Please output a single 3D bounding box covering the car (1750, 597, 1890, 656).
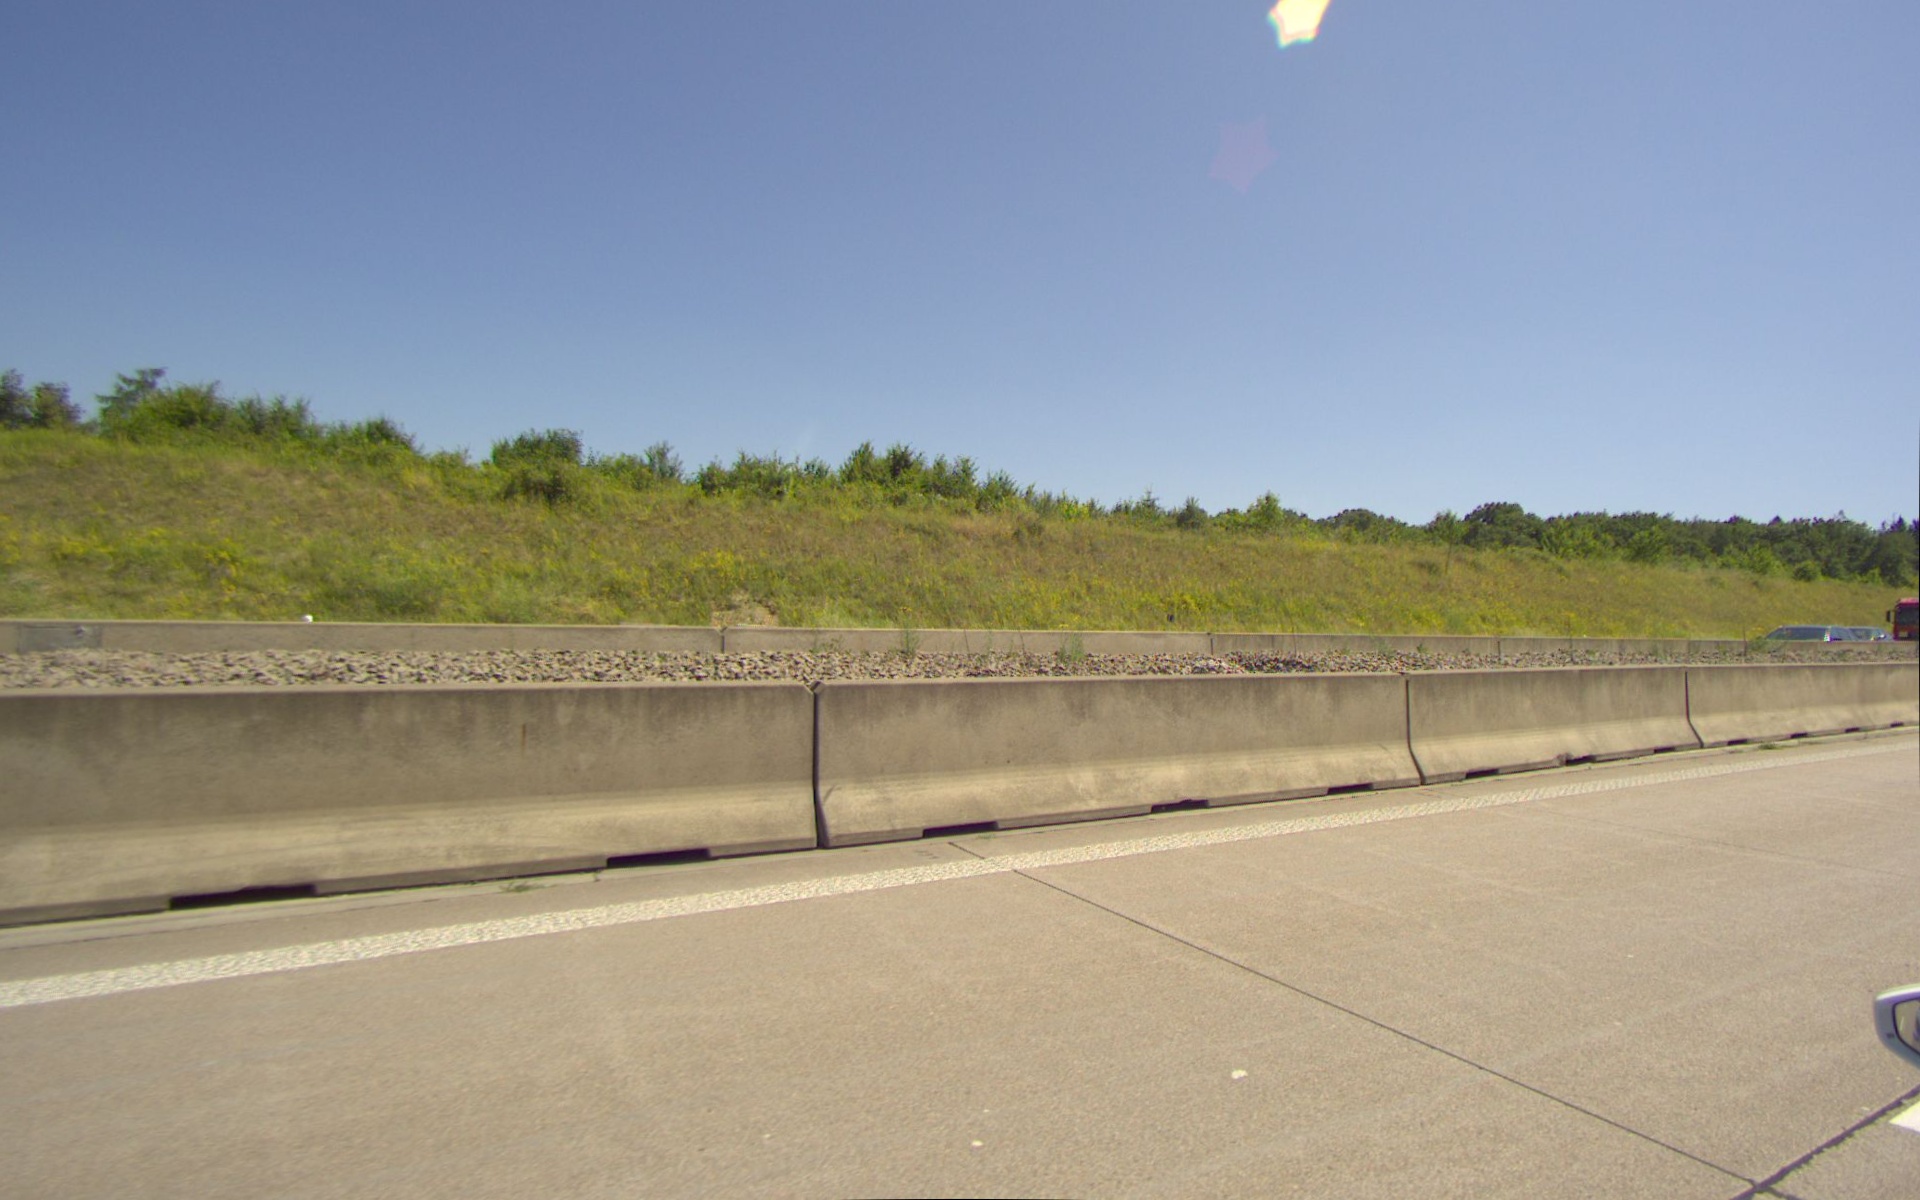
[{"bbox_3d":[25.123,0.775,29.326,3.955,1.606,1.983,2,0,-31],"label":"car"}]

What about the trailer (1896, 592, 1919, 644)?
[{"bbox_3d":[65.881,1.375,66.607,11.710,3.258,2.915,2,1,-34],"label":"trailer"}]

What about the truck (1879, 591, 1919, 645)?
[{"bbox_3d":[60.521,1.189,62.956,5.844,3.258,2.915,2,1,-34],"label":"truck"}]
